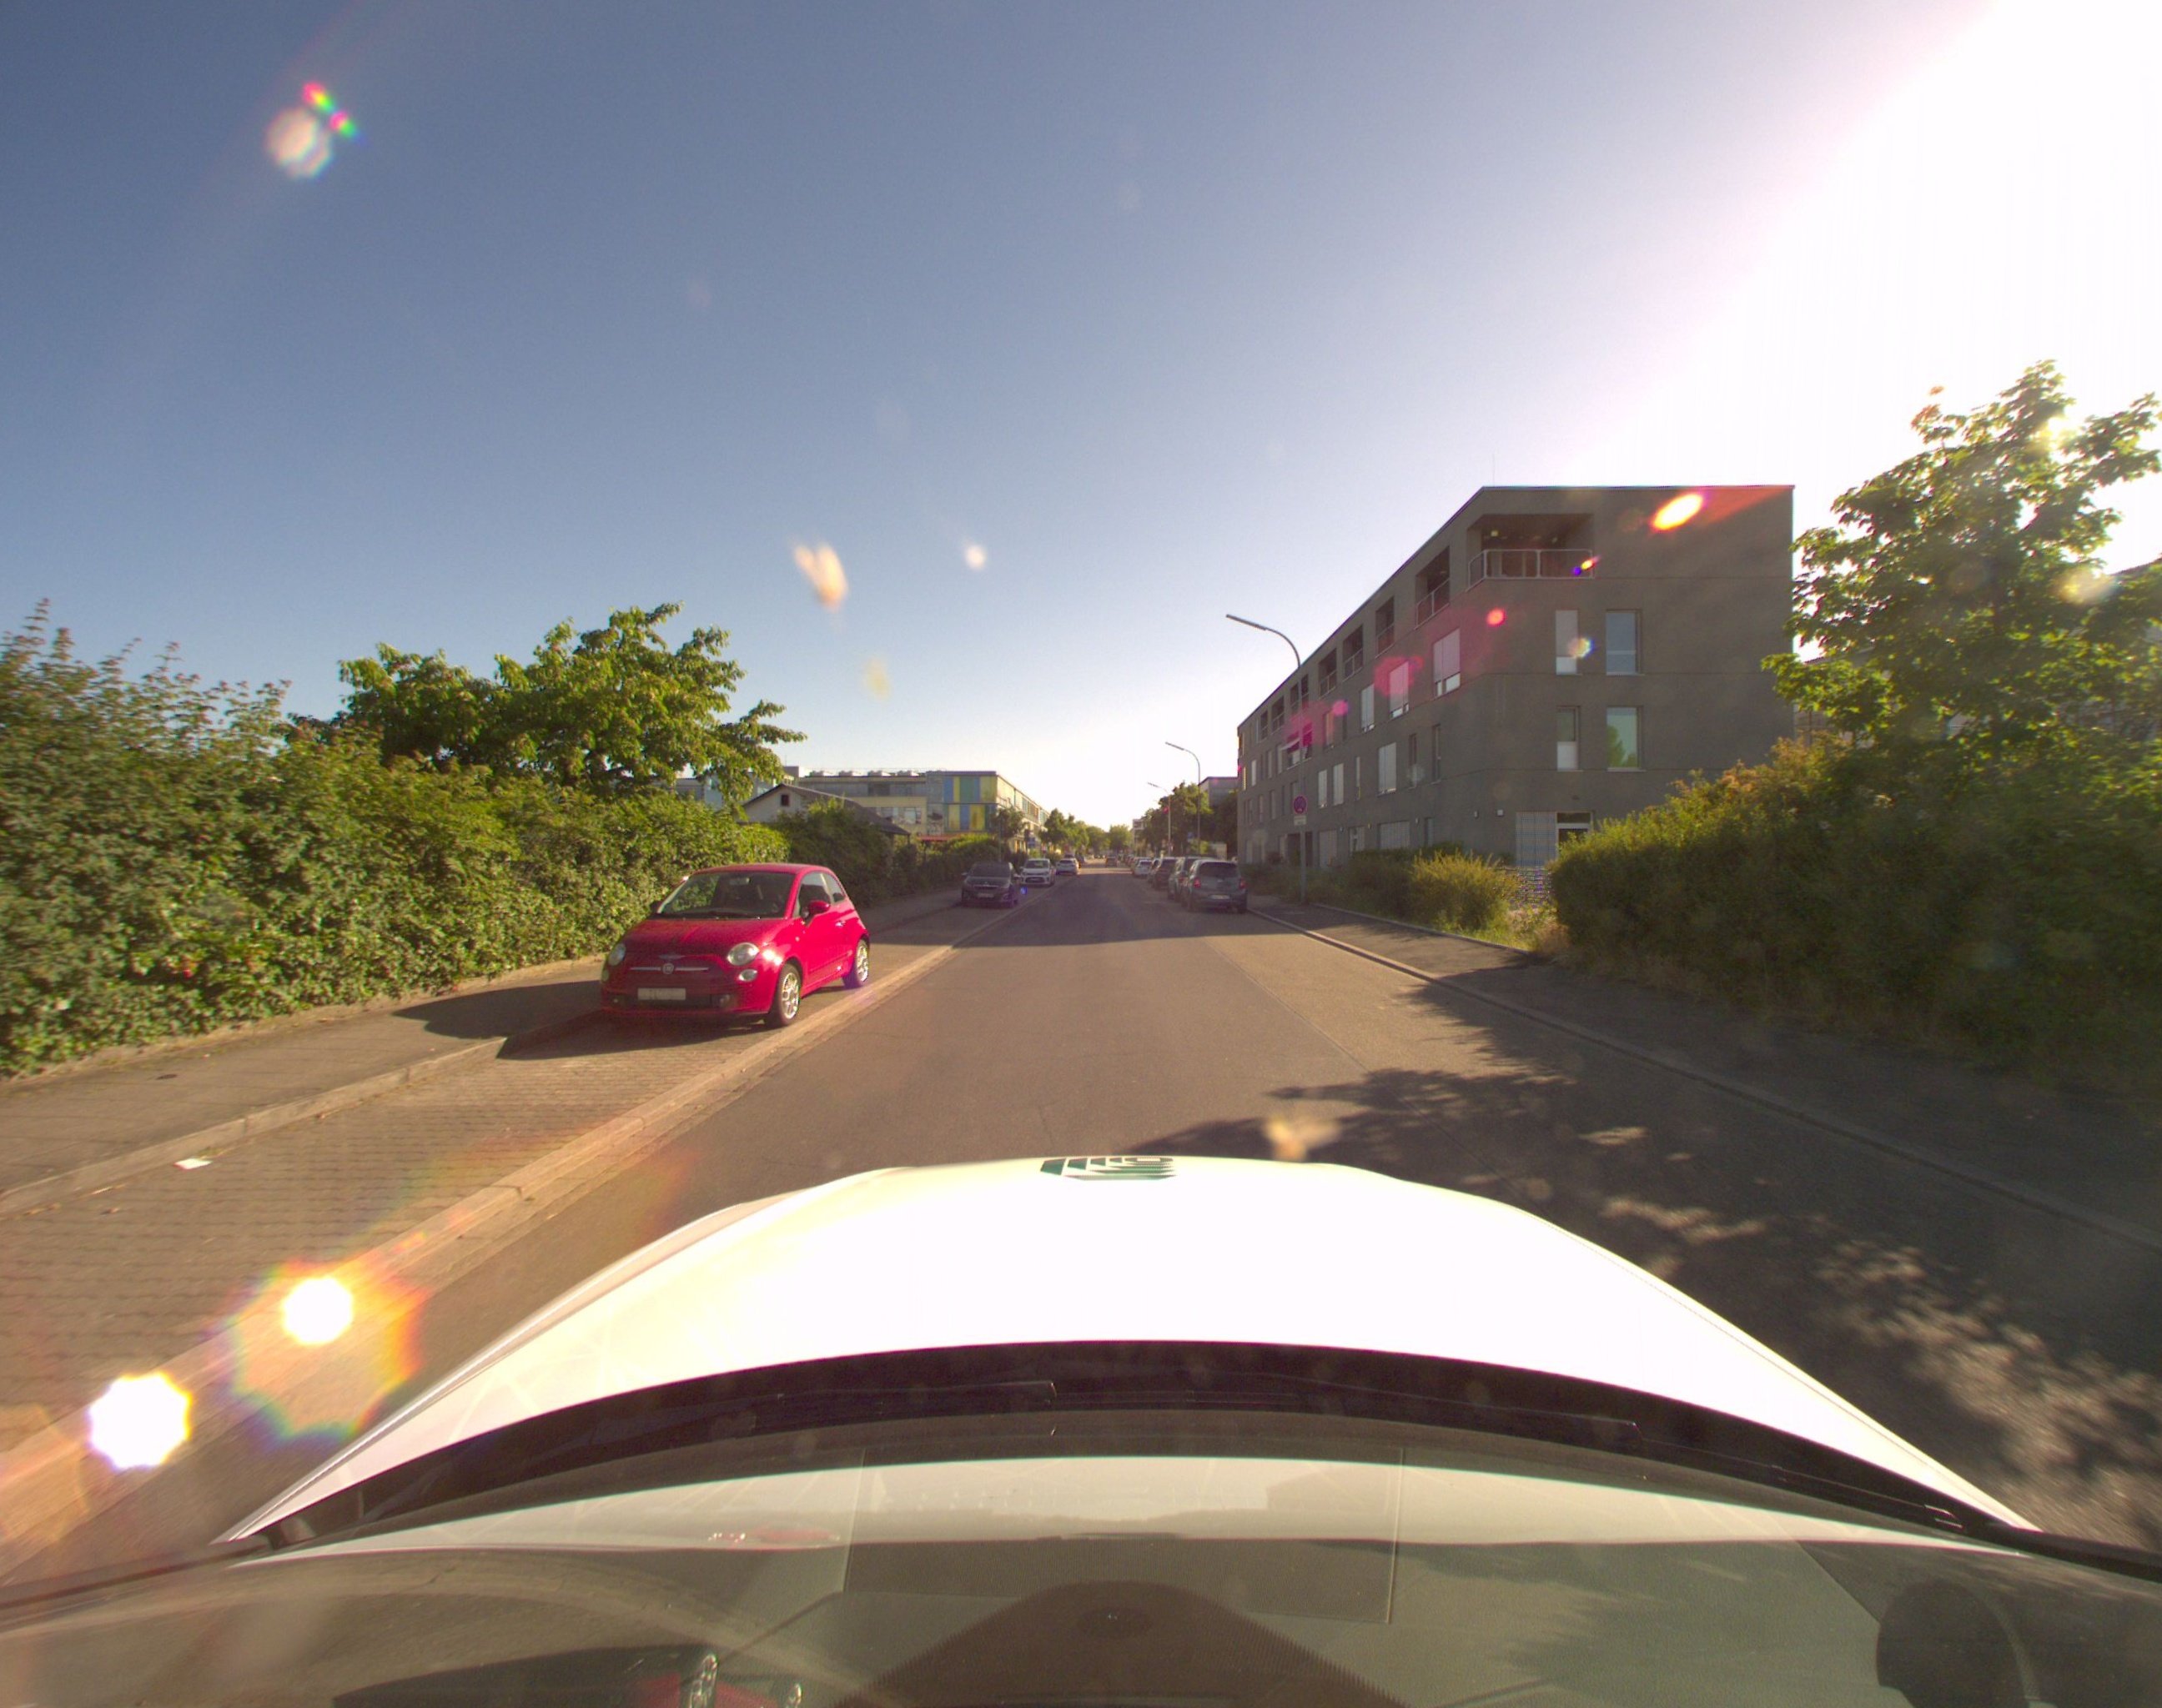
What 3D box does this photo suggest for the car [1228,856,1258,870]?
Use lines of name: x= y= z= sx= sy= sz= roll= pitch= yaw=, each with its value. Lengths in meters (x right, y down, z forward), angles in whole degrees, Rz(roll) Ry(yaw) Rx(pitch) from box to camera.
car: x=18.778 y=1.062 z=94.437 sx=3.201 sy=1.460 sz=1.451 roll=2 pitch=-1 yaw=4

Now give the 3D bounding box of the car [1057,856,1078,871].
car: x=-1.330 y=0.943 z=80.436 sx=1.847 sy=1.428 sz=4.135 roll=2 pitch=0 yaw=2

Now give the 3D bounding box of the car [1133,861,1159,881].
car: x=5.086 y=1.289 z=64.000 sx=1.735 sy=1.428 sz=4.135 roll=2 pitch=0 yaw=2

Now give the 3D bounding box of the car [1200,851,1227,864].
car: x=16.613 y=0.409 z=102.486 sx=3.201 sy=1.549 sz=1.451 roll=2 pitch=-1 yaw=4

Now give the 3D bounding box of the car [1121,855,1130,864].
car: x=8.737 y=1.085 z=160.032 sx=1.440 sy=1.549 sz=3.614 roll=2 pitch=0 yaw=1

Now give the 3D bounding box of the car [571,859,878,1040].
car: x=-3.407 y=0.808 z=8.547 sx=1.554 sy=1.495 sz=3.571 roll=0 pitch=0 yaw=1

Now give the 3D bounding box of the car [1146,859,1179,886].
car: x=4.877 y=1.076 z=49.055 sx=1.651 sy=1.551 sz=3.852 roll=2 pitch=0 yaw=2

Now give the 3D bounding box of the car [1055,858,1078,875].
car: x=-1.289 y=1.092 z=73.079 sx=1.847 sy=1.428 sz=4.135 roll=2 pitch=0 yaw=2

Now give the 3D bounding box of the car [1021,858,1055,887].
car: x=-2.269 y=0.975 z=43.704 sx=1.554 sy=1.495 sz=3.759 roll=0 pitch=0 yaw=1

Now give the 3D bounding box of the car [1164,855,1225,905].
car: x=4.071 y=0.895 z=29.780 sx=1.670 sy=1.608 sz=4.179 roll=2 pitch=0 yaw=1

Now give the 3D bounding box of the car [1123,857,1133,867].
car: x=7.713 y=1.335 z=134.628 sx=1.440 sy=1.549 sz=3.614 roll=2 pitch=0 yaw=1

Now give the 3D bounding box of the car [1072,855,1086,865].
car: x=-0.291 y=1.044 z=132.360 sx=1.845 sy=1.563 sz=4.141 roll=2 pitch=0 yaw=6

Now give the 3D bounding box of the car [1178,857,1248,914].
car: x=3.940 y=0.895 z=24.765 sx=1.616 sy=1.526 sz=3.904 roll=2 pitch=0 yaw=3

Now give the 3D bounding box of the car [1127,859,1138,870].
car: x=7.526 y=1.519 z=118.615 sx=1.440 sy=1.549 sz=3.614 roll=2 pitch=0 yaw=1

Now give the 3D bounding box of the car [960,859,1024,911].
car: x=-2.847 y=0.964 z=26.661 sx=1.554 sy=1.495 sz=3.571 roll=3 pitch=0 yaw=2

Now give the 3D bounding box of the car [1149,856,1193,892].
car: x=4.373 y=0.969 z=40.065 sx=1.735 sy=1.625 sz=4.180 roll=2 pitch=0 yaw=2

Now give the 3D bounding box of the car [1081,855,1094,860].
car: x=1.992 y=1.017 z=247.667 sx=3.594 sy=1.549 sz=1.448 roll=2 pitch=-1 yaw=-4

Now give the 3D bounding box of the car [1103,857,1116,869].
car: x=4.047 y=1.234 z=114.621 sx=1.683 sy=1.549 sz=3.614 roll=2 pitch=0 yaw=1

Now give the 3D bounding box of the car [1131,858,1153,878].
car: x=5.216 y=1.191 z=70.012 sx=1.627 sy=1.630 sz=3.614 roll=2 pitch=0 yaw=1
